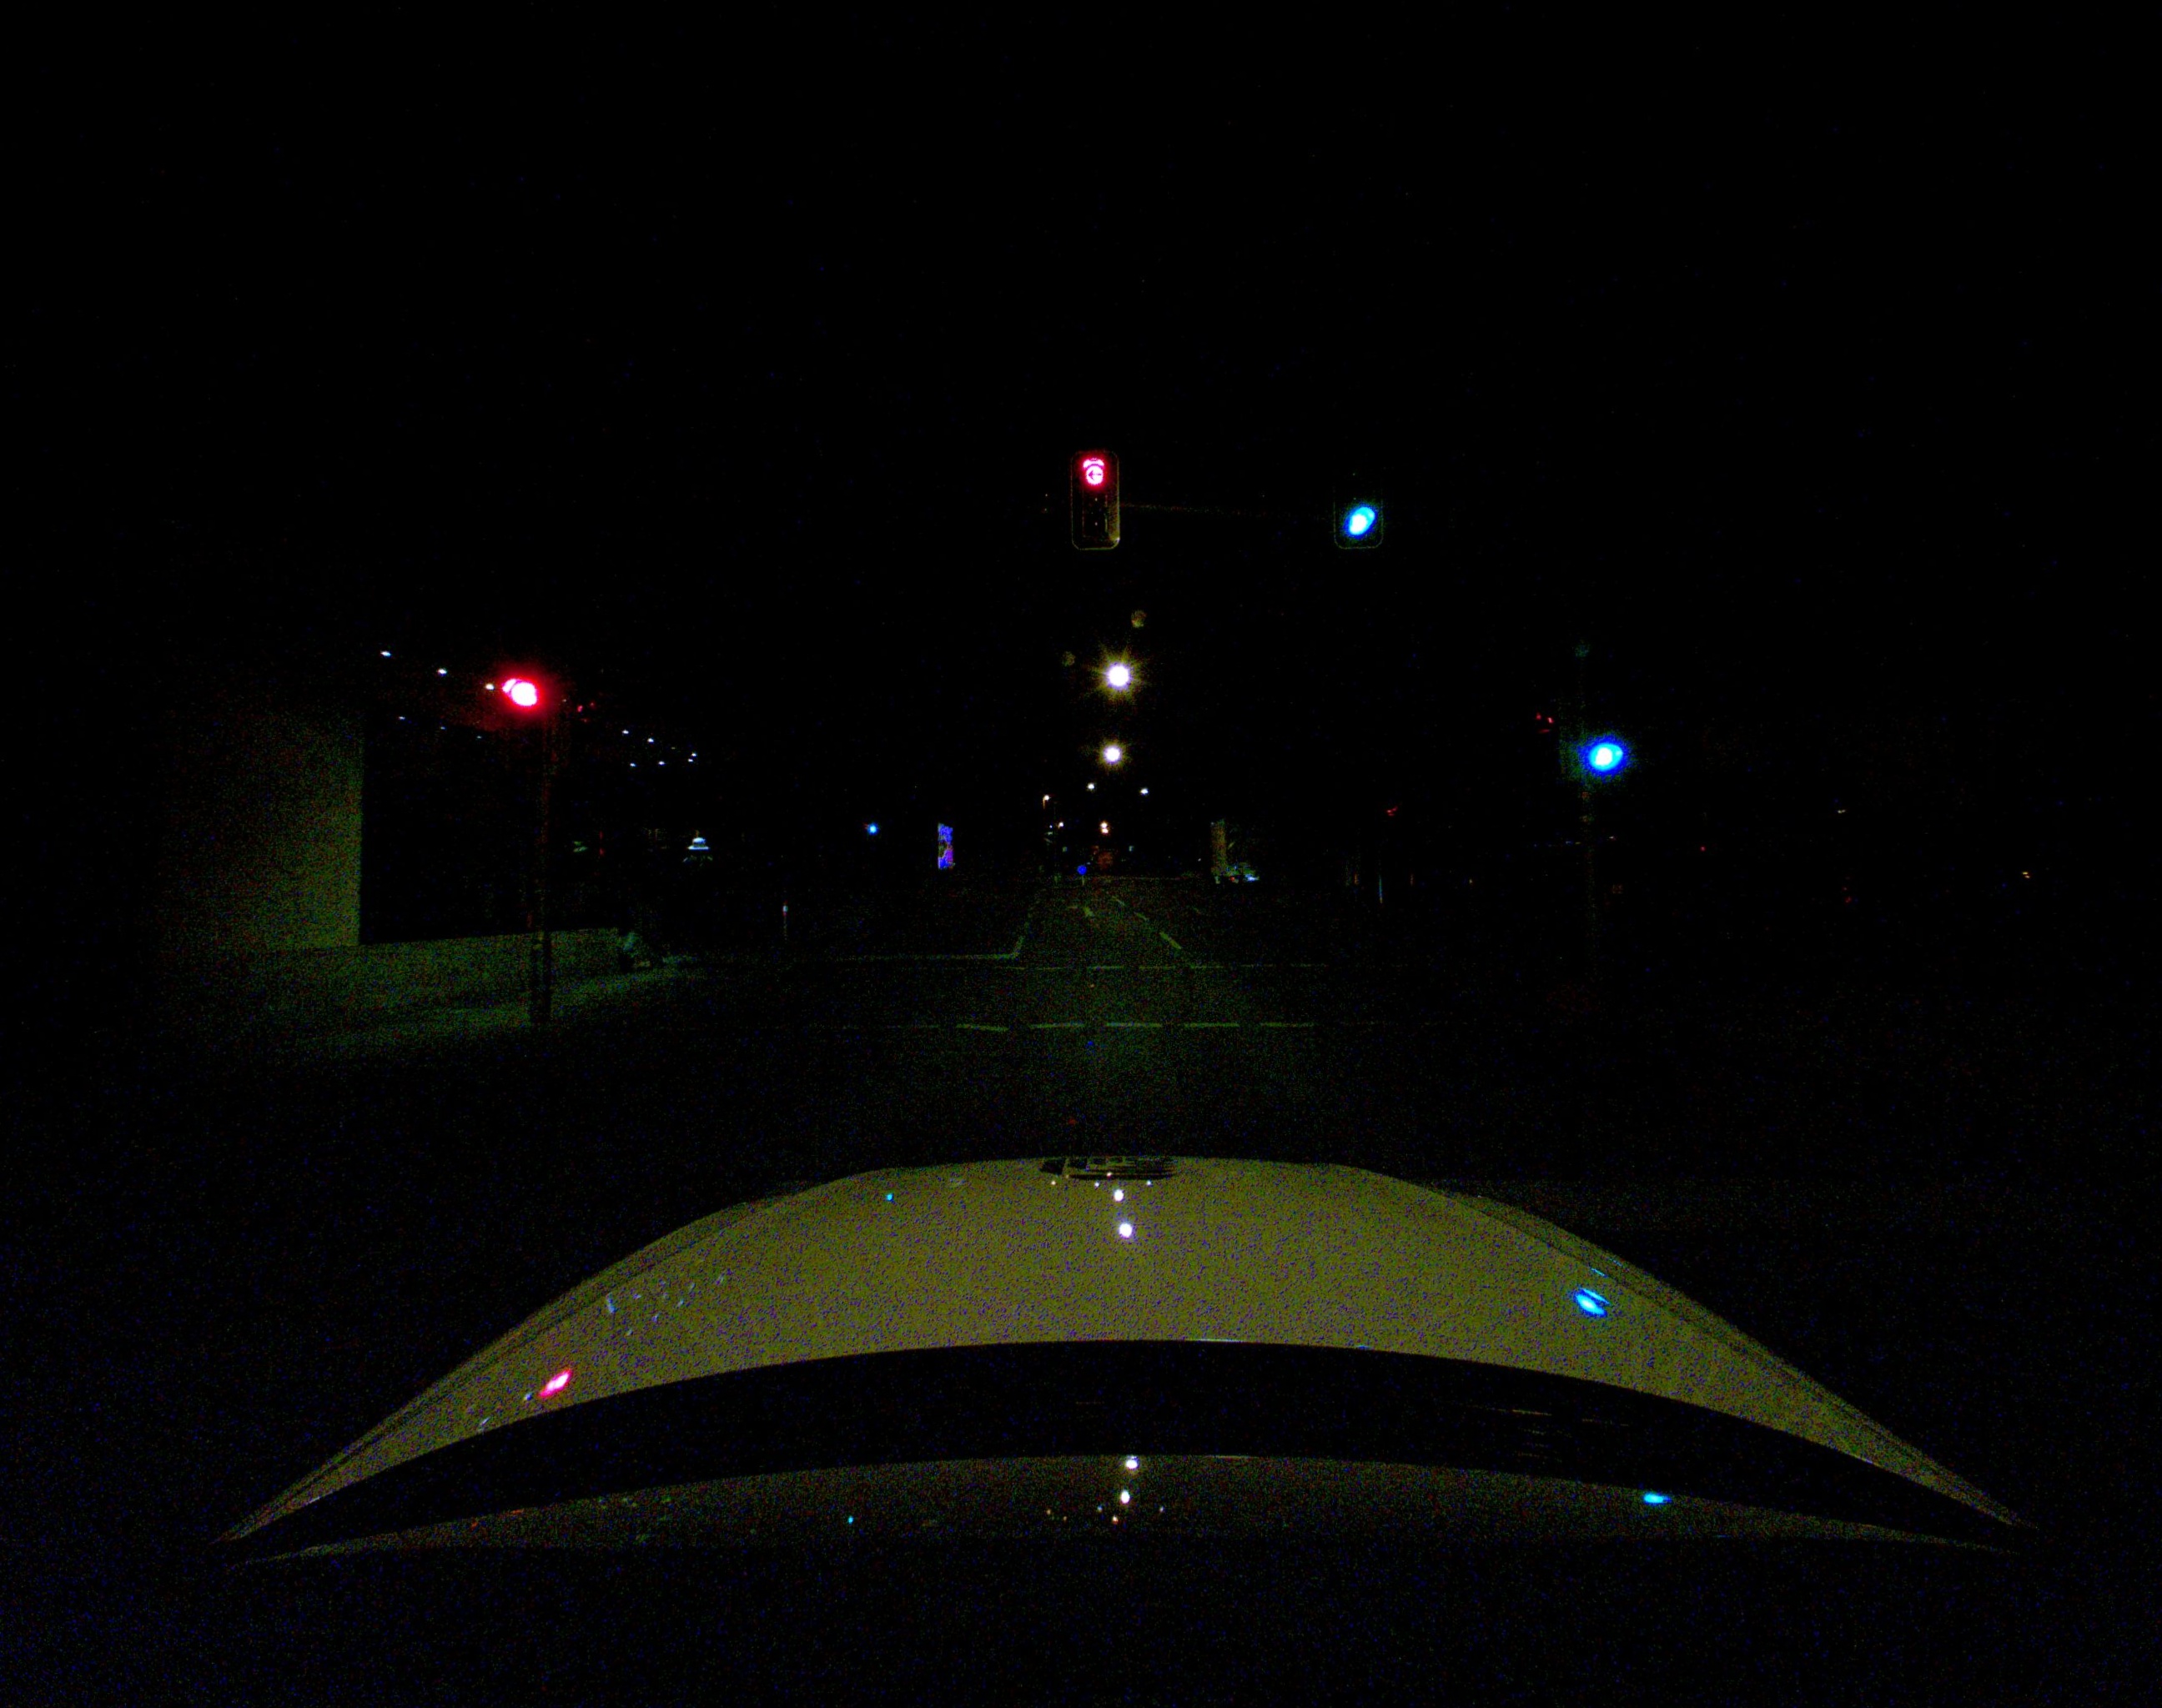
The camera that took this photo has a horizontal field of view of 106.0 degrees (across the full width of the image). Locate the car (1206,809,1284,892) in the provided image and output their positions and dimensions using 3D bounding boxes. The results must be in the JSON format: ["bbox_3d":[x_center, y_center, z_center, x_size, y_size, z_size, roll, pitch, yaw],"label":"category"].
[{"bbox_3d":[6.768,-0.111,34.295,2.287,3.093,5.845,-2,-1,3],"label":"car"}]

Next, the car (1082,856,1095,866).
[{"bbox_3d":[1.255,1.175,134.602,1.901,1.557,3.906,0,-1,2],"label":"car"}]

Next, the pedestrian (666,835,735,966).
[{"bbox_3d":[-5.358,0.636,11.503,0.568,1.778,0.737,1,-1,1],"label":"pedestrian"}]

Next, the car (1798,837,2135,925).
[{"bbox_3d":[17.459,0.565,16.294,4.342,1.560,1.807,-2,-3,8],"label":"car"}]

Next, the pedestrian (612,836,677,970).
[{"bbox_3d":[-5.794,0.637,10.833,0.568,1.731,0.544,0,-1,1],"label":"pedestrian"}]
